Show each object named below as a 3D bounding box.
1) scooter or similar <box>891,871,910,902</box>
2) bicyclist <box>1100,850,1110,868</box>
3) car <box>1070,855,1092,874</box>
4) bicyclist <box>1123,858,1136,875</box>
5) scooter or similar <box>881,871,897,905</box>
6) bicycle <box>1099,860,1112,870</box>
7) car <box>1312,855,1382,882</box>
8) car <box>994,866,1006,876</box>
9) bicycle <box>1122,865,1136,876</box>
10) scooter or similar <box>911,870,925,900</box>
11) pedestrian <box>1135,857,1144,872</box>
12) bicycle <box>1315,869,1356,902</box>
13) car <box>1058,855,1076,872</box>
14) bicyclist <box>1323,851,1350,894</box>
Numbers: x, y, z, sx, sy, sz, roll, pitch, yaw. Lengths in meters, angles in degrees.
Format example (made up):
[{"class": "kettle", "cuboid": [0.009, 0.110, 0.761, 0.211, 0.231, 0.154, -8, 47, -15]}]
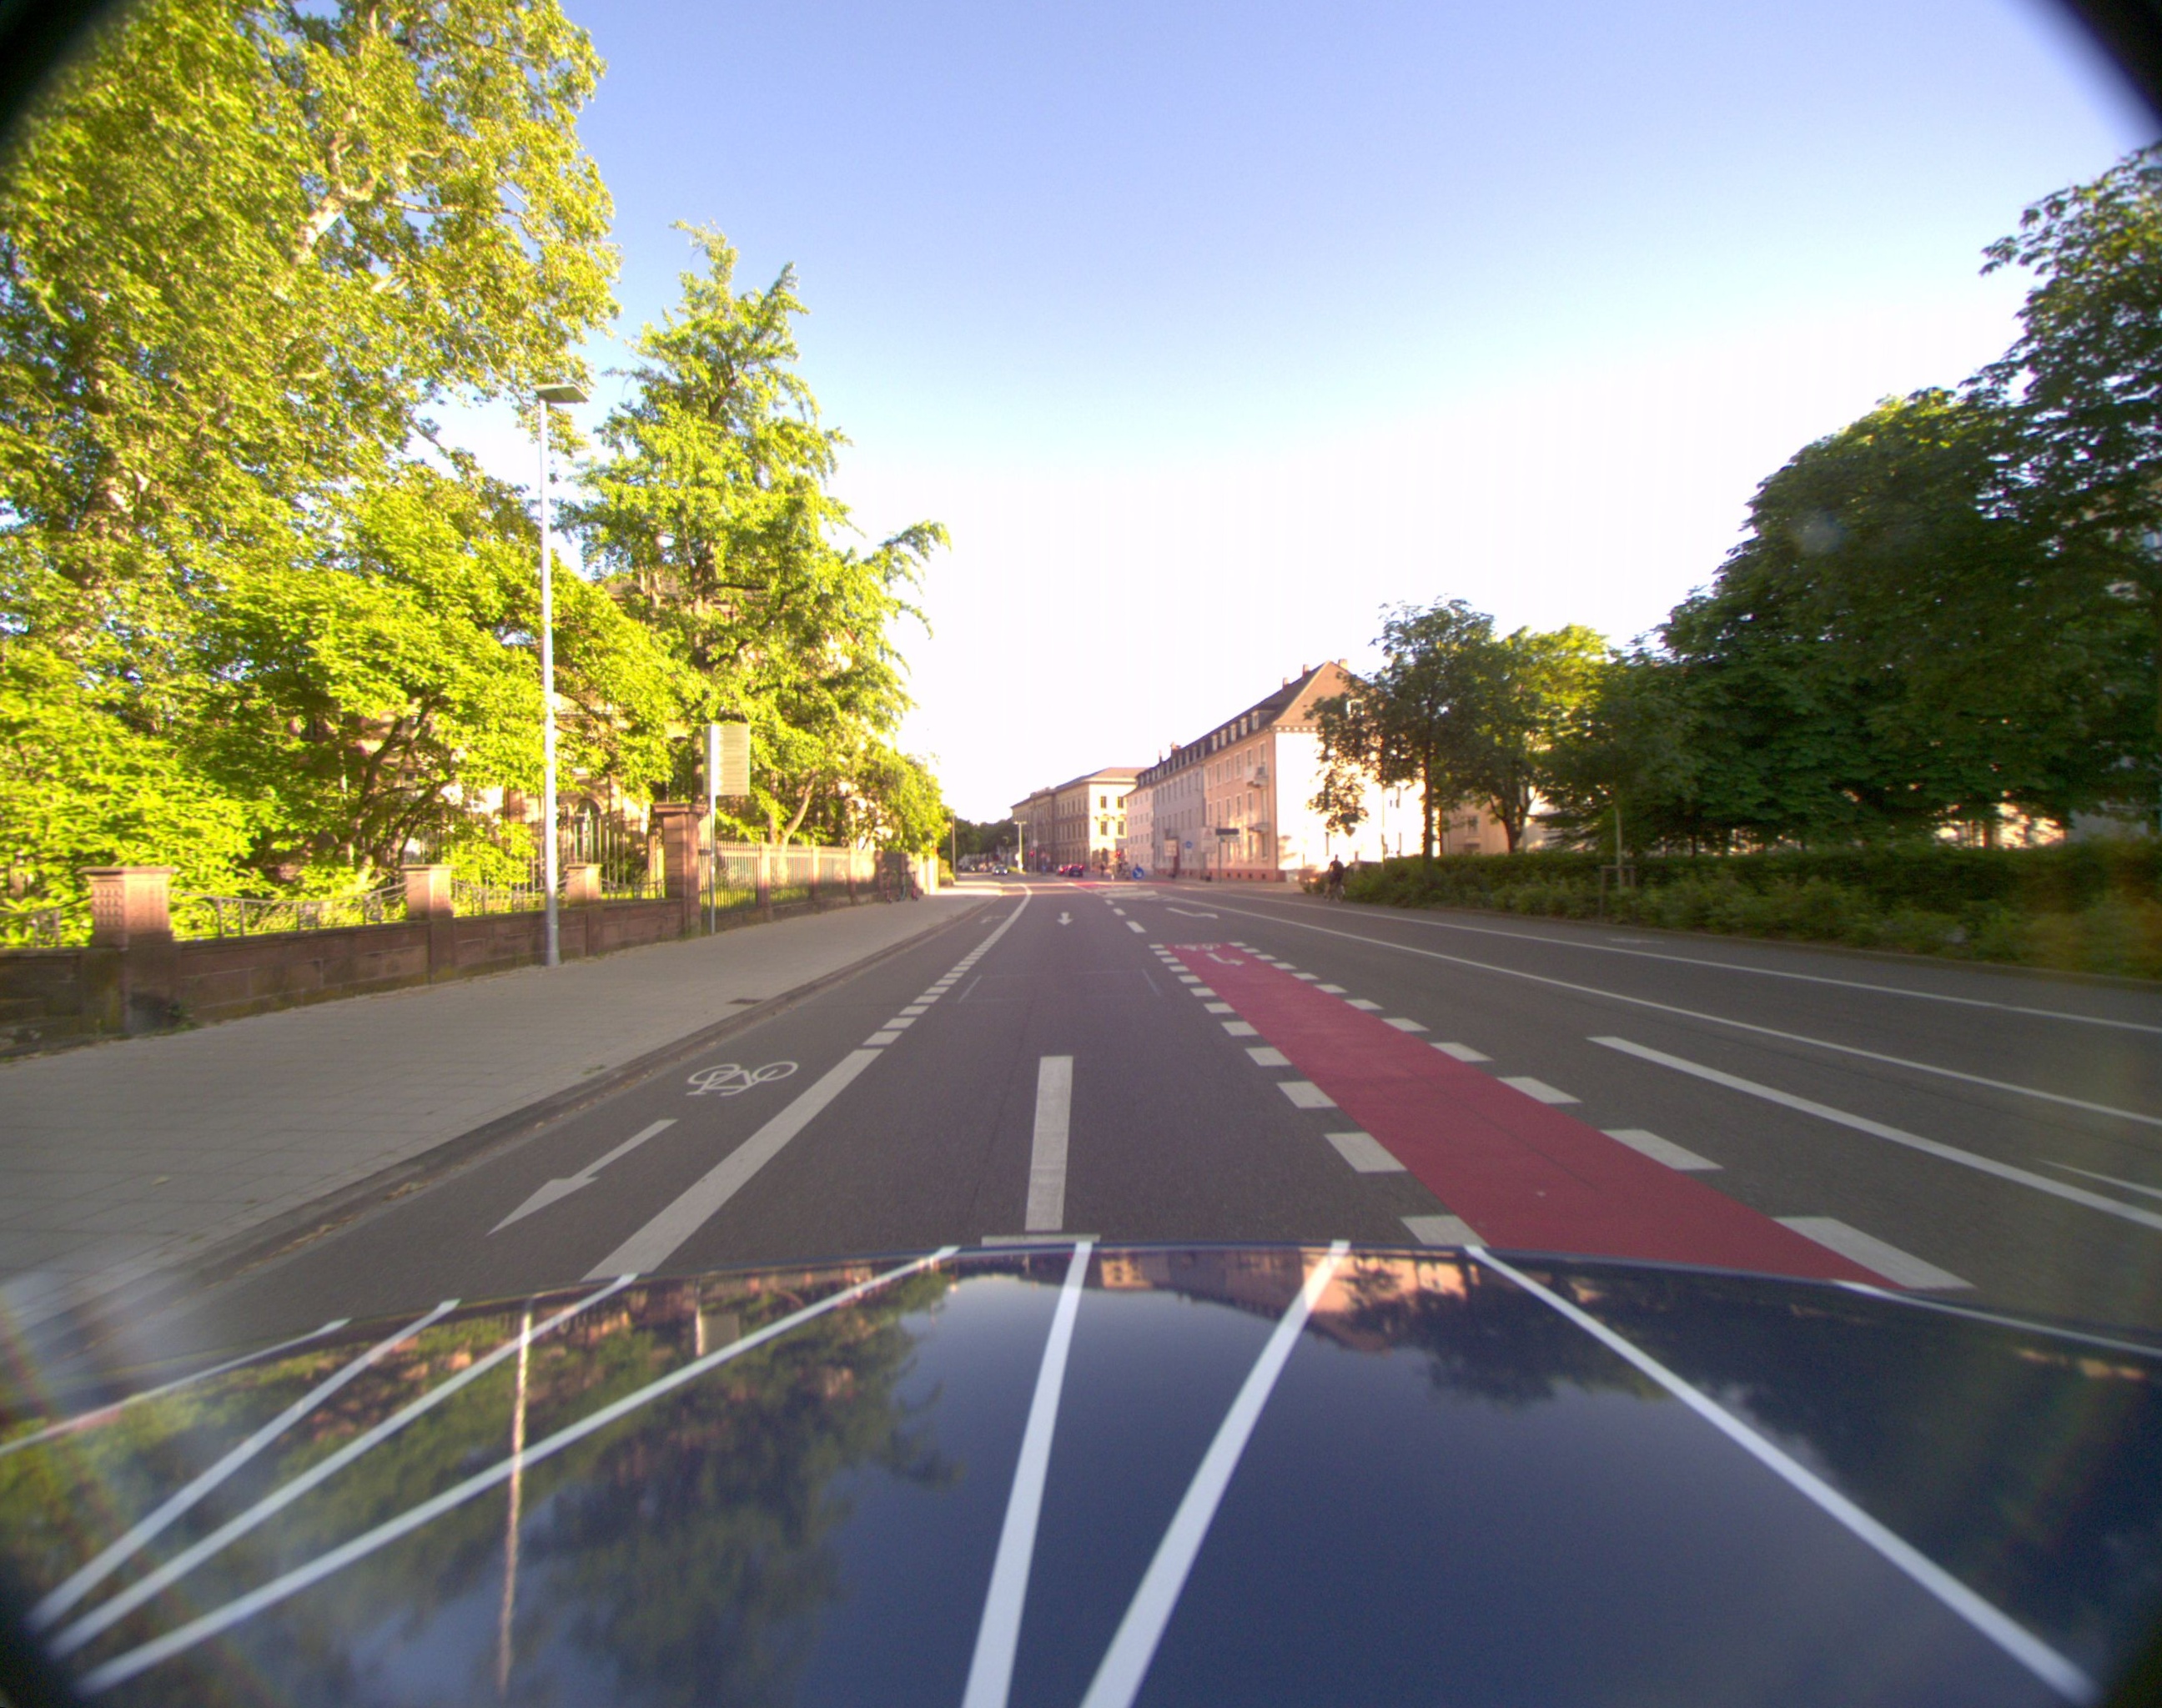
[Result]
[{"class": "scooter or similar", "cuboid": [-7.352, 1.309, 30.980, 0.576, 1.177, 1.487, 0, 0, -7]}, {"class": "bicyclist", "cuboid": [2.784, 0.587, 87.608, 0.956, 2.002, 1.307, 0, 0, -9]}, {"class": "car", "cuboid": [-0.023, 1.094, 82.987, 1.999, 2.002, 3.998, 0, 0, -5]}, {"class": "bicyclist", "cuboid": [4.304, 1.089, 67.639, 1.026, 1.481, 0.870, 0, 0, -9]}, {"class": "scooter or similar", "cuboid": [-7.353, 1.289, 29.127, 0.576, 1.246, 1.486, 0, 0, -15]}, {"class": "bicycle", "cuboid": [2.782, 1.266, 87.621, 0.956, 1.216, 2.777, 0, 0, -9]}, {"class": "car", "cuboid": [18.087, 0.990, 51.811, 4.000, 1.652, 1.998, -2, 1, -9]}, {"class": "car", "cuboid": [-11.680, 2.412, 109.196, 1.710, 1.397, 4.262, 0, 0, -6]}, {"class": "bicycle", "cuboid": [4.291, 1.491, 67.720, 0.663, 0.907, 2.861, 0, 0, -9]}, {"class": "scooter or similar", "cuboid": [-6.870, 1.299, 32.057, 0.517, 1.233, 1.521, 0, 0, -11]}, {"class": "pedestrian", "cuboid": [7.656, 1.411, 99.808, 0.949, 1.894, 1.062, -2, 1, -7]}, {"class": "bicycle", "cuboid": [9.558, 1.173, 28.665, 0.697, 1.152, 2.245, 0, 0, -2]}, {"class": "car", "cuboid": [-1.783, 1.187, 95.060, 1.999, 2.002, 3.998, 0, 0, -5]}, {"class": "bicyclist", "cuboid": [9.571, 0.685, 28.443, 0.691, 1.553, 0.838, 0, 0, -3]}]
